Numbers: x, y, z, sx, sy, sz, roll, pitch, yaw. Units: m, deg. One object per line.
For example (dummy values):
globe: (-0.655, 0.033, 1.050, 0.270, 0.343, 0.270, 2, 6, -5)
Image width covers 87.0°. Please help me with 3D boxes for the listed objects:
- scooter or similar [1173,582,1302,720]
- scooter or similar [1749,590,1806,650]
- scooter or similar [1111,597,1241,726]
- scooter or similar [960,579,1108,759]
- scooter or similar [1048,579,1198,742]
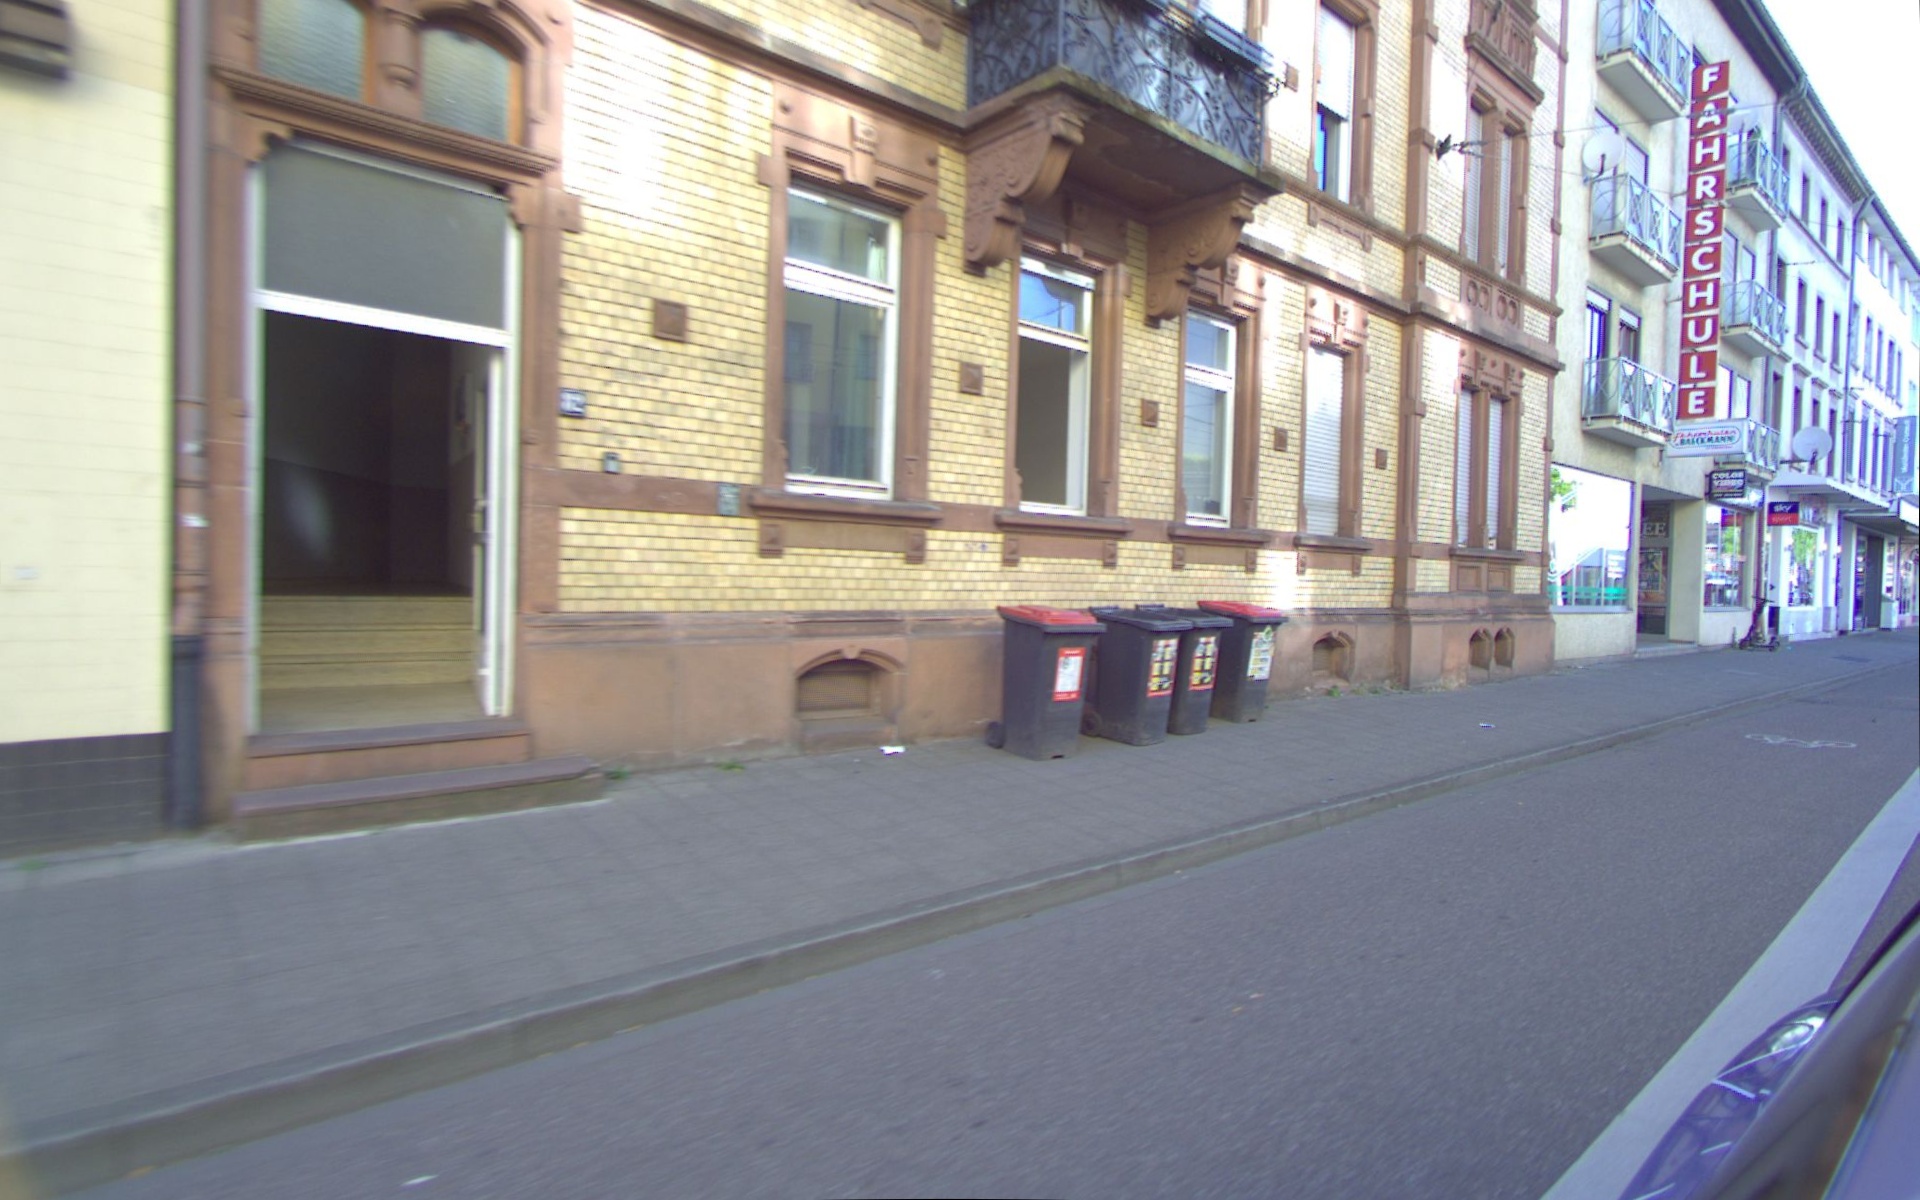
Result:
scooter or similar: (2.618, 0.451, 9.553, 0.776, 1.162, 0.792, 0, 6, -42)
scooter or similar: (18.319, 0.442, 22.672, 1.257, 1.297, 0.412, 1, 2, -24)
scooter or similar: (1.863, 0.503, 8.772, 0.669, 0.968, 0.792, 0, 6, -42)
scooter or similar: (0.534, 0.470, 7.513, 0.538, 1.161, 0.900, 0, 7, -42)
scooter or similar: (1.318, 0.453, 8.259, 0.639, 1.162, 0.935, 0, 6, -42)
